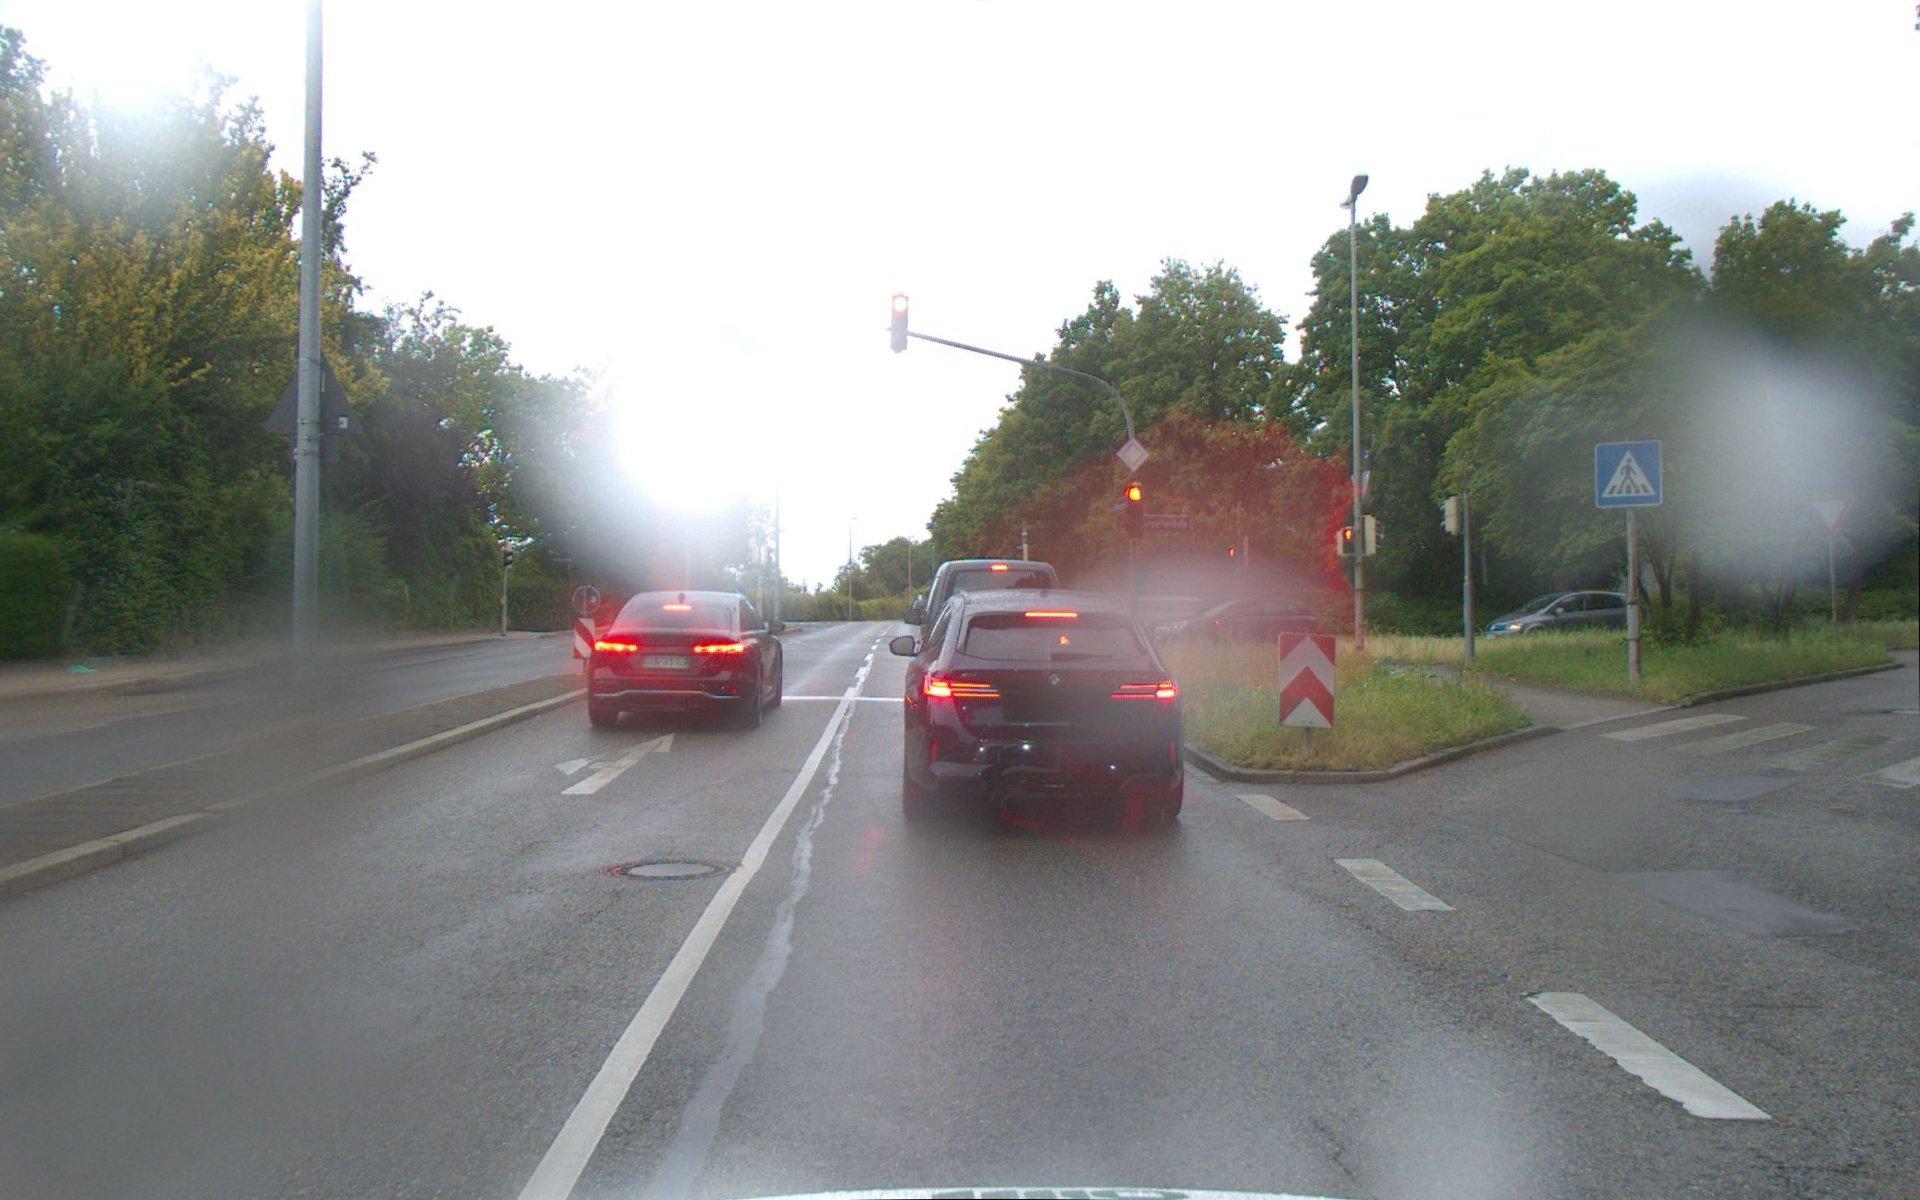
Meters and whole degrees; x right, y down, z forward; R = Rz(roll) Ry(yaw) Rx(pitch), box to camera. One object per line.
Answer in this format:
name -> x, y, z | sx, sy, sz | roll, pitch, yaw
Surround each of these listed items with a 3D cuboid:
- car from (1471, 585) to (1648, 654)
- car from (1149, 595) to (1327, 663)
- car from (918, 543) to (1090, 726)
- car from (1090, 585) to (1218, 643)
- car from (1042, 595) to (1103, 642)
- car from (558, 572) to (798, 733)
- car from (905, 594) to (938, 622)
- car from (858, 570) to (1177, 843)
car -> 15.448, 0.493, 42.715 | 3.946, 1.630, 1.744 | -2, 0, -10
car -> 6.761, 0.680, 40.482 | 3.912, 1.535, 1.898 | -1, 0, -8
car -> 0.454, 0.368, 19.364 | 1.781, 1.901, 3.952 | 1, 0, 0
car -> 5.350, 0.398, 45.802 | 3.428, 1.452, 1.704 | -2, -1, 6
car -> 3.930, 0.634, 58.458 | 1.835, 1.570, 3.952 | -2, 0, 0
car -> -3.040, 0.527, 18.732 | 1.953, 1.554, 4.327 | -2, 0, 0
car -> -2.366, 0.493, 102.866 | 1.953, 1.652, 3.952 | -2, 0, 0
car -> 0.450, 0.657, 12.114 | 1.858, 1.578, 4.616 | 1, -1, 3
